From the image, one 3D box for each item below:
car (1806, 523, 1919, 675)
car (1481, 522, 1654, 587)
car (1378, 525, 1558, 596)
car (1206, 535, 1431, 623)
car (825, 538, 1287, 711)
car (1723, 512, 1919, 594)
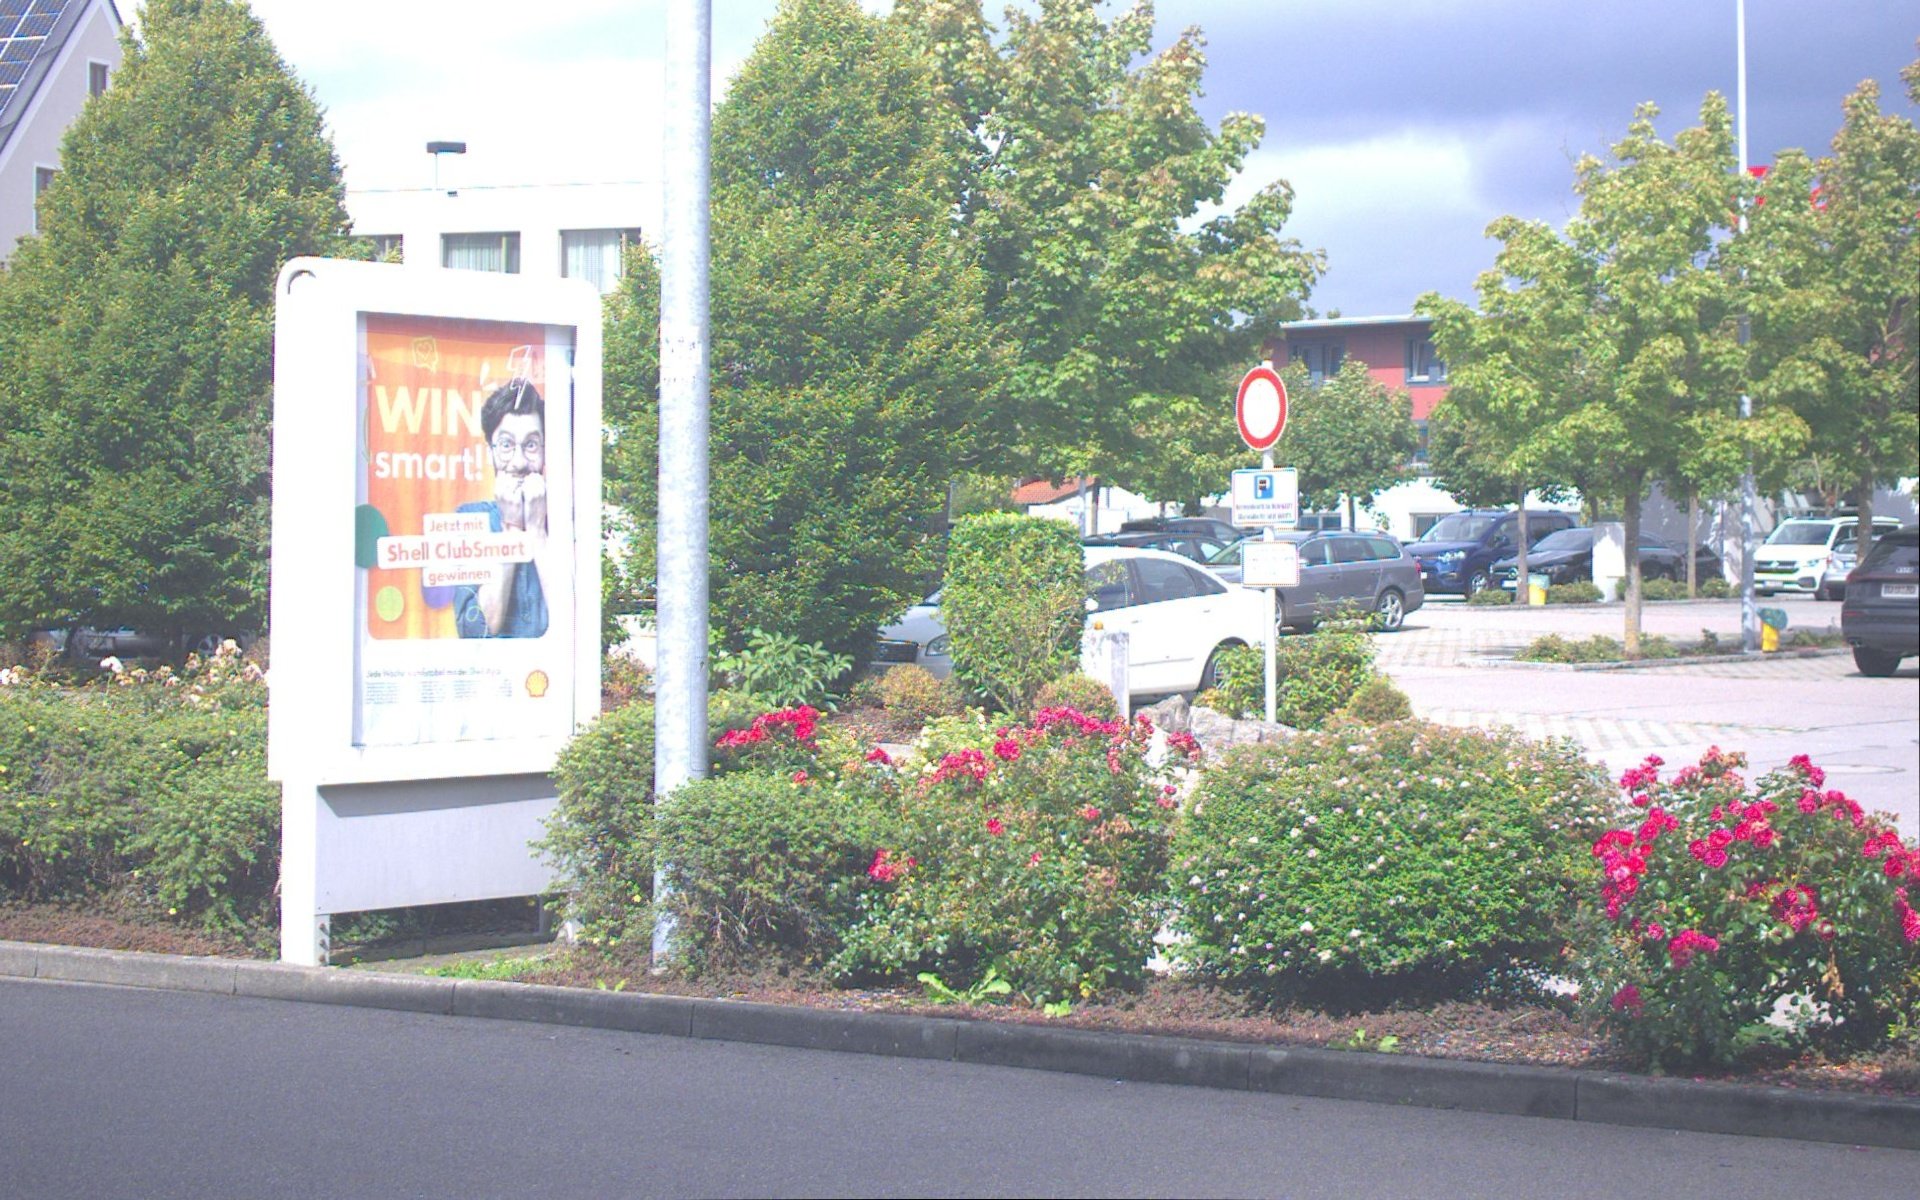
[{"bbox_3d":[11.134,-0.012,36.743,4.491,1.543,1.885,0,1,-43],"label":"car"},{"bbox_3d":[11.517,-0.847,65.048,3.409,1.174,1.485,0,1,-44],"label":"car"},{"bbox_3d":[9.888,-0.766,66.796,3.379,1.316,1.747,0,1,-44],"label":"car"},{"bbox_3d":[5.204,-0.296,49.729,3.218,1.224,1.505,0,1,-44],"label":"car"},{"bbox_3d":[0.905,0.199,29.940,4.332,1.399,1.370,0,1,-44],"label":"car"},{"bbox_3d":[20.250,-1.094,80.654,4.864,1.827,2.184,0,1,-43],"label":"car"}]
